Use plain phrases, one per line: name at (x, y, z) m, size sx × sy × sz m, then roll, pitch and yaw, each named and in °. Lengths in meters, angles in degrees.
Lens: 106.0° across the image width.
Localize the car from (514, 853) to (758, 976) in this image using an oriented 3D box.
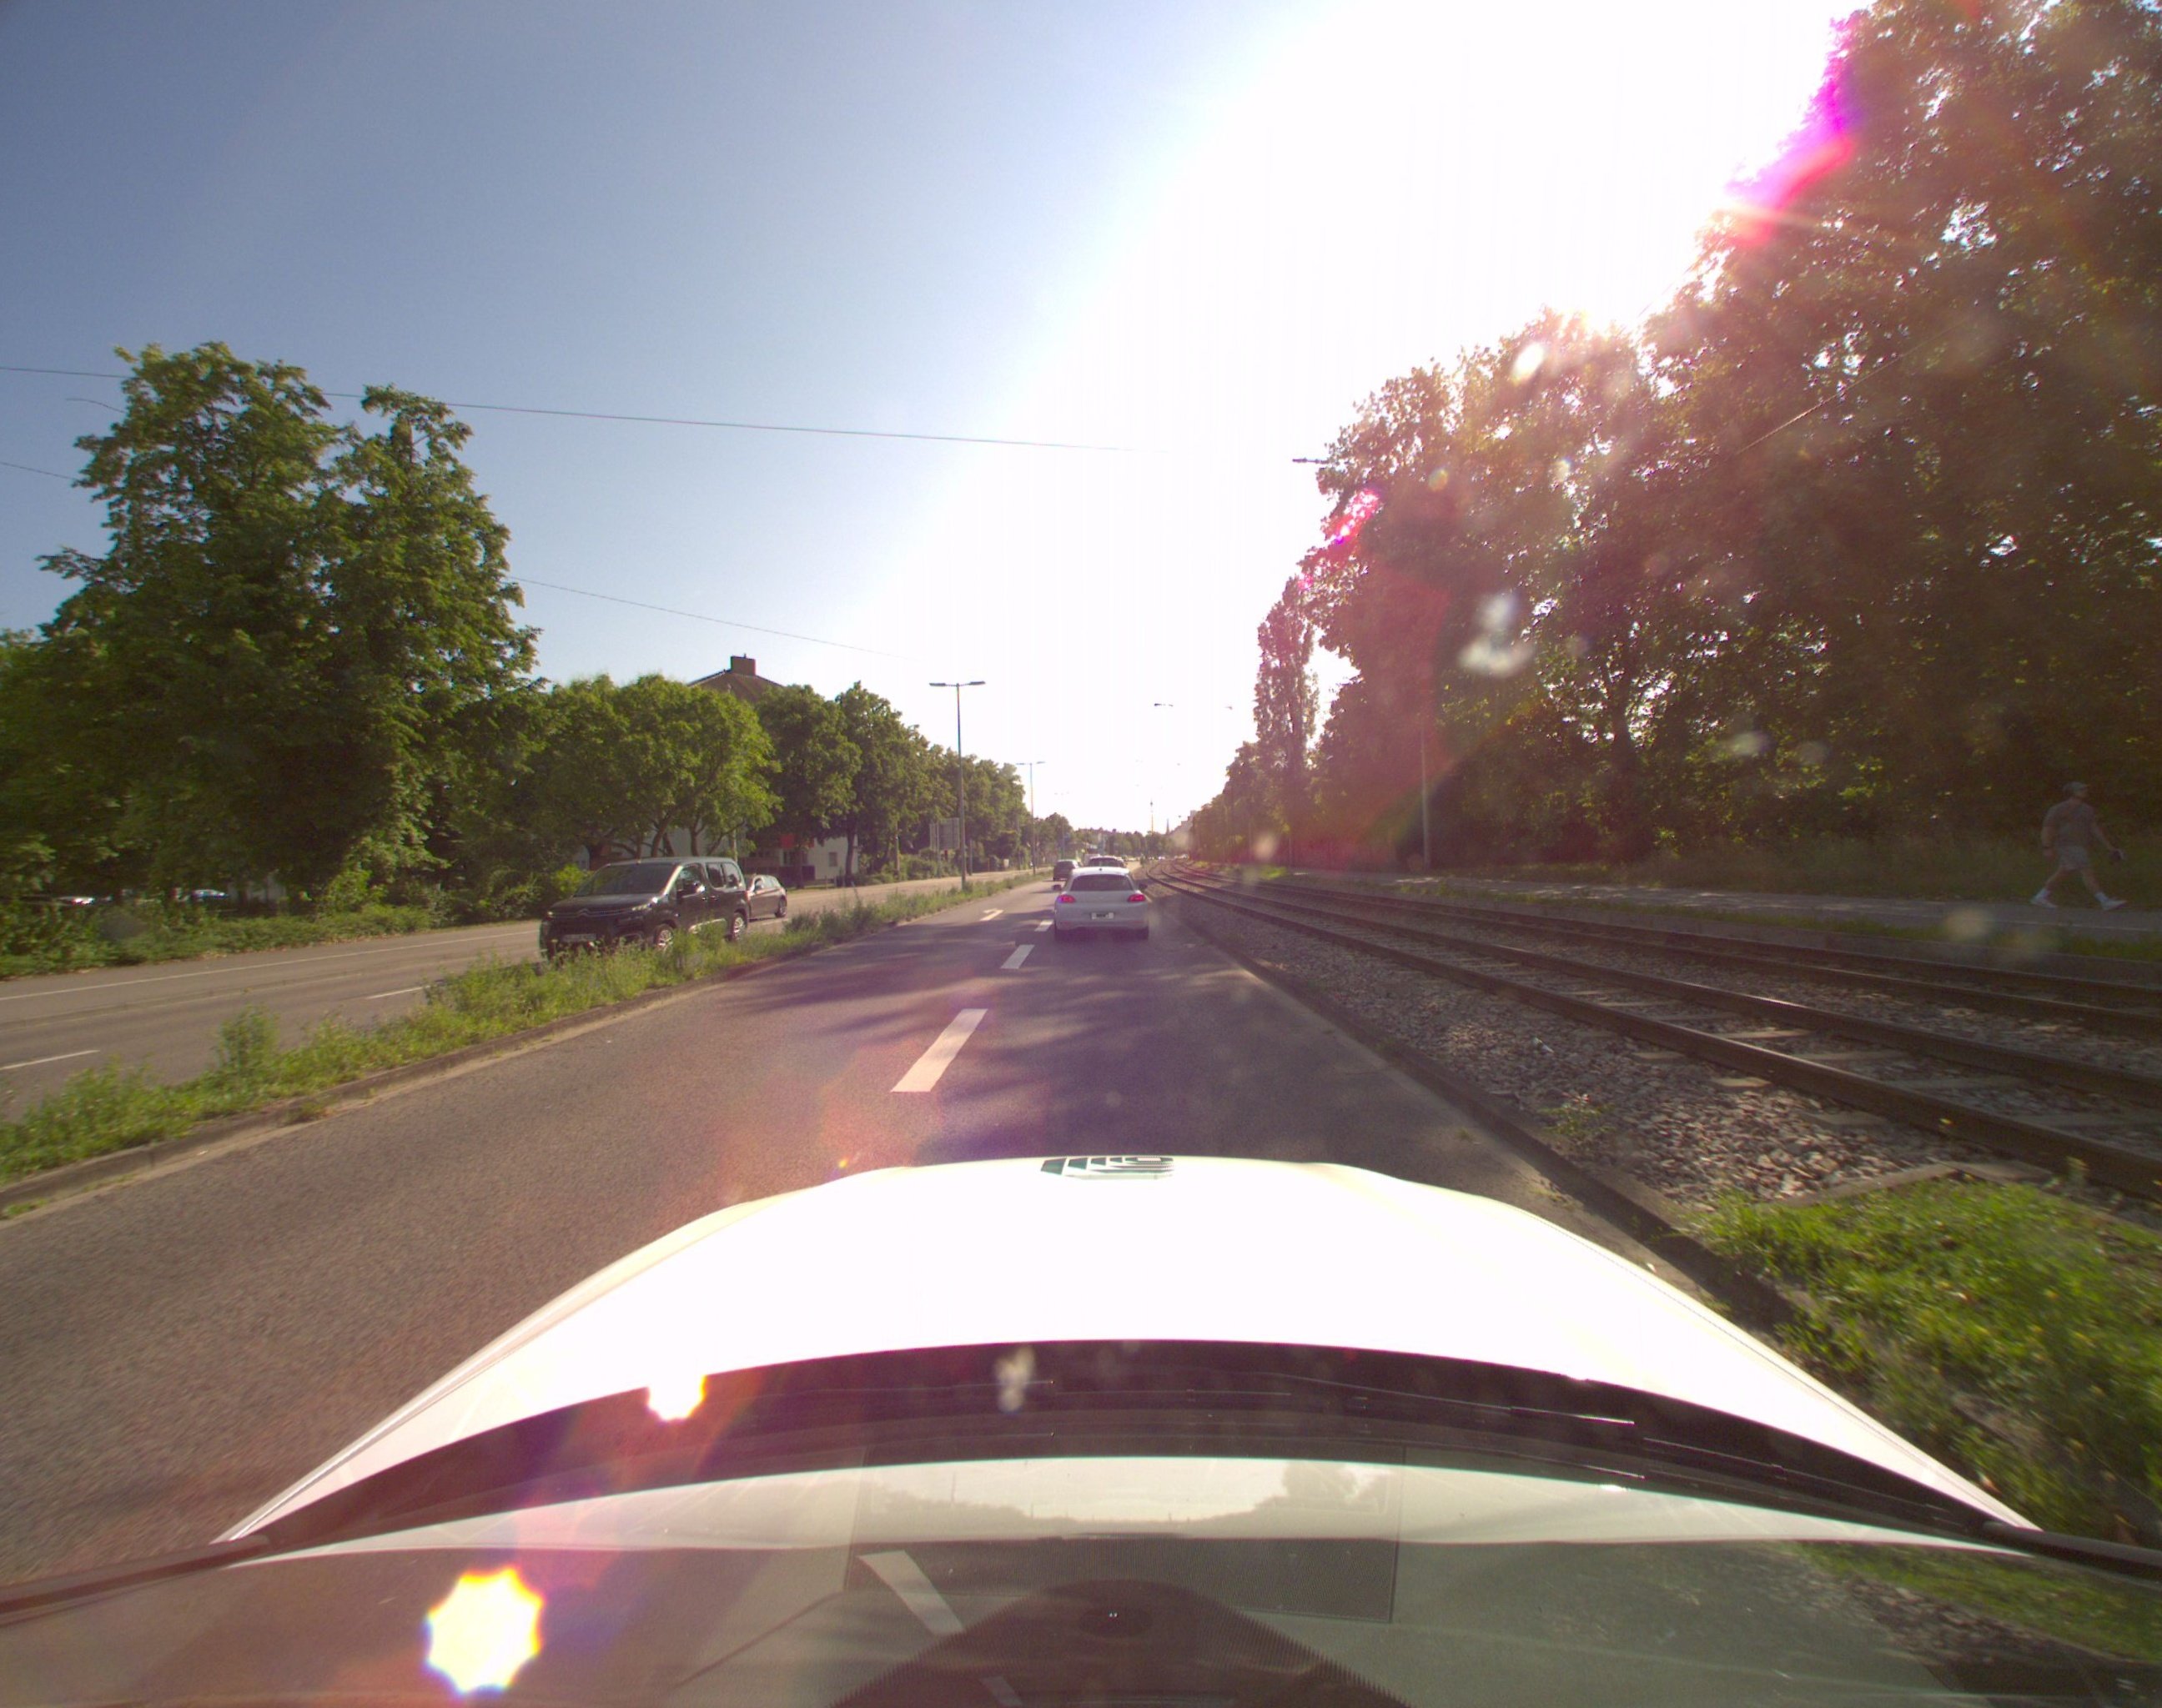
car at (-7.663, 0.928, 14.641) m, size 1.784 × 1.784 × 4.481 m, roll -3°, pitch 0°, yaw 1°

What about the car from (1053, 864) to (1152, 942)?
car at (0.465, 0.913, 16.595) m, size 1.774 × 1.356 × 3.603 m, roll 0°, pitch 0°, yaw 2°

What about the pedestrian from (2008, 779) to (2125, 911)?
pedestrian at (13.468, -0.123, 11.157) m, size 0.498 × 1.716 × 0.887 m, roll -3°, pitch 0°, yaw 6°

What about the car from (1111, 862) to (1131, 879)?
car at (3.642, 1.466, 73.856) m, size 1.742 × 1.486 × 3.603 m, roll 0°, pitch 0°, yaw 2°

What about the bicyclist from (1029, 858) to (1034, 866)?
bicyclist at (-8.993, 1.436, 148.998) m, size 0.658 × 1.452 × 1.053 m, roll -2°, pitch -1°, yaw 9°

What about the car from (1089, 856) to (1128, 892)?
car at (1.284, 0.881, 38.042) m, size 1.717 × 1.593 × 3.603 m, roll 0°, pitch 0°, yaw 2°

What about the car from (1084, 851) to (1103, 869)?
car at (1.444, 0.739, 93.627) m, size 1.809 × 1.963 × 4.408 m, roll -2°, pitch -1°, yaw 5°

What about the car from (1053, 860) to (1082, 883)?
car at (-0.924, 1.214, 58.007) m, size 1.753 × 1.486 × 4.648 m, roll 0°, pitch 0°, yaw 2°

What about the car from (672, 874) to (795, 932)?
car at (-10.356, 1.400, 24.651) m, size 1.717 × 1.419 × 4.327 m, roll -3°, pitch 0°, yaw 1°
